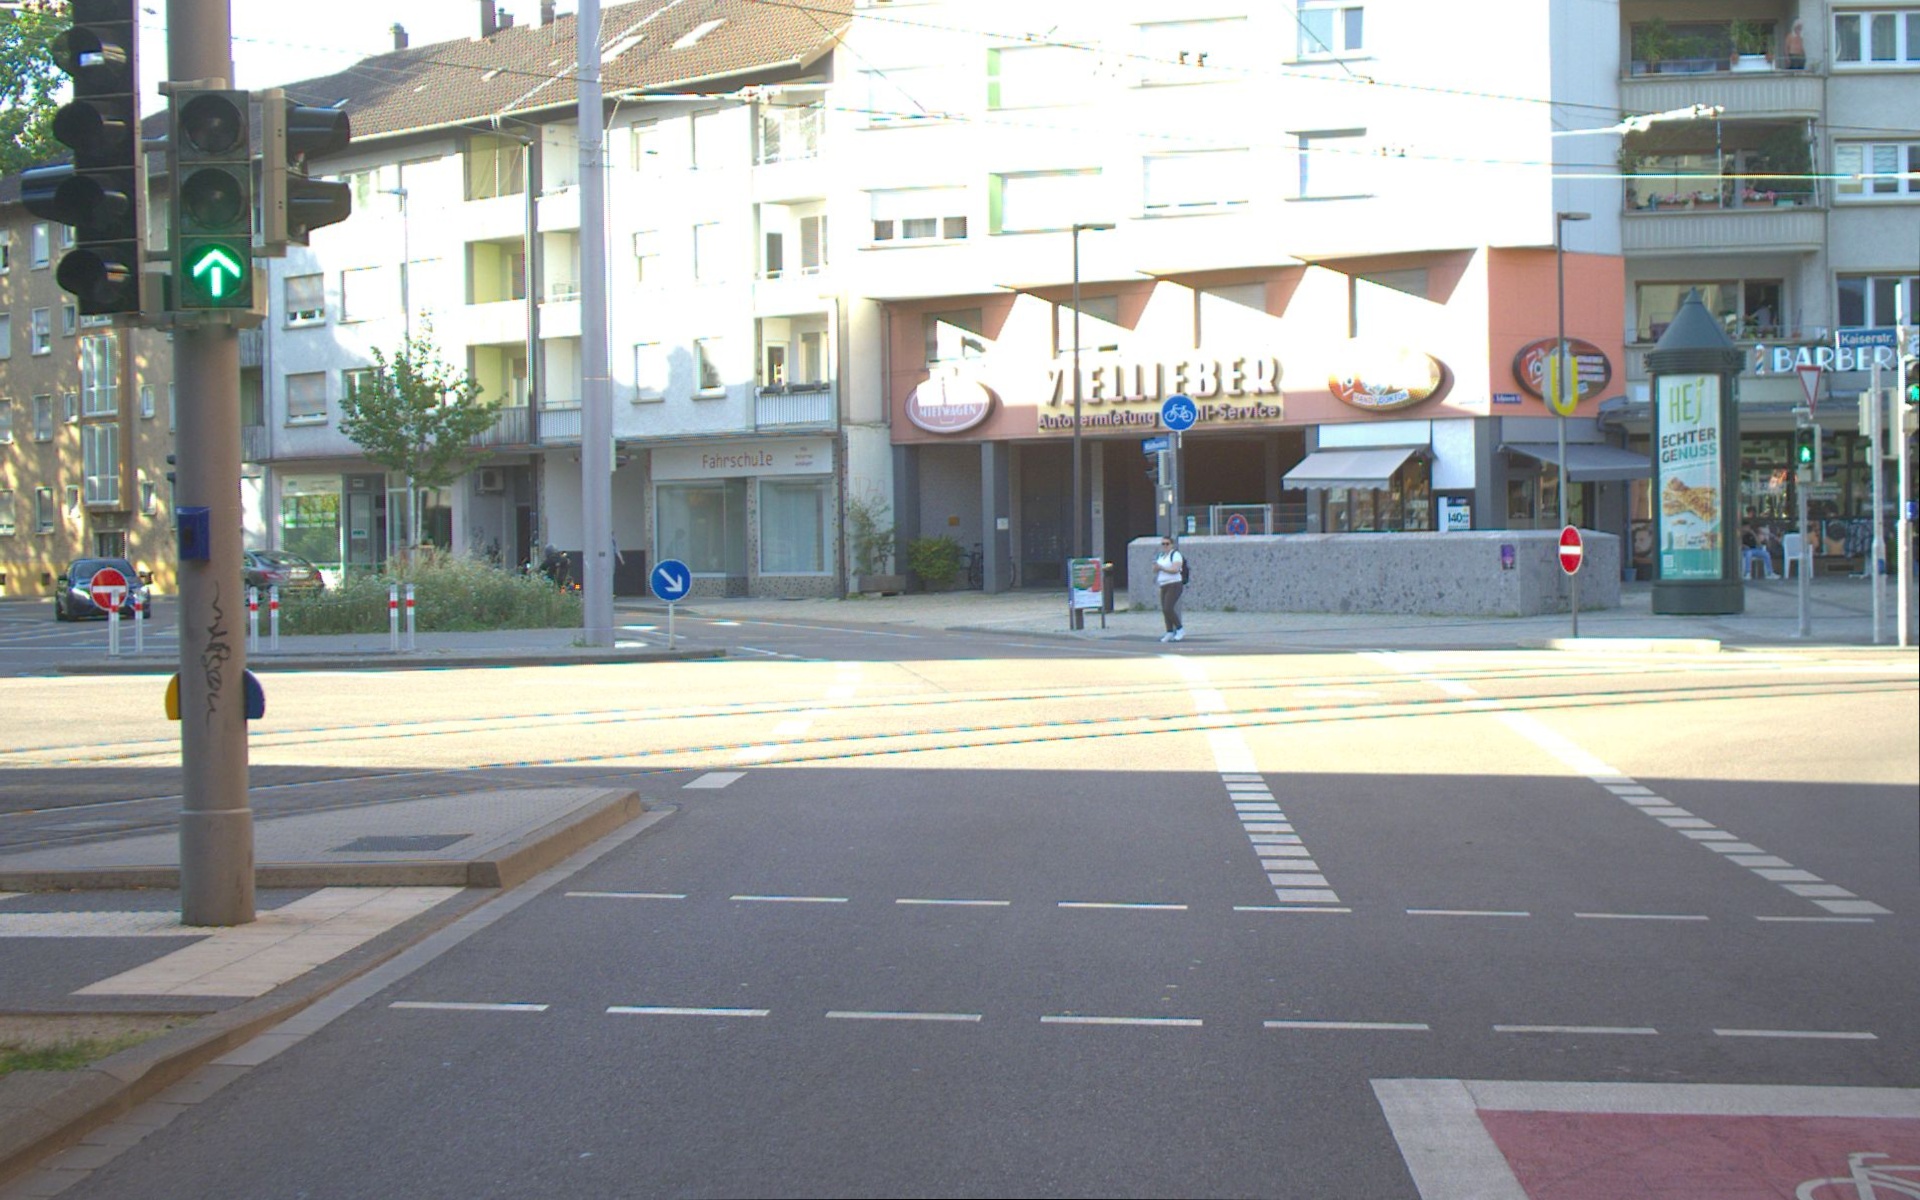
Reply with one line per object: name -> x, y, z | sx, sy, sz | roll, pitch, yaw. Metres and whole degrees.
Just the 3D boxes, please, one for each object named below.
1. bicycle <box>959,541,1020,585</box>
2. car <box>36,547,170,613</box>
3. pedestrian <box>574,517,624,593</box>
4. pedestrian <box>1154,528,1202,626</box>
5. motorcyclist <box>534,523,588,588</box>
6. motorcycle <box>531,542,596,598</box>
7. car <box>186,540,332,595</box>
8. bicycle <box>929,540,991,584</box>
bicycle -> 0.700, -0.889, 82.455 | 0.494, 1.035, 1.638 | -1, 1, -42
car -> -19.038, -0.455, 76.546 | 1.832, 1.381, 4.596 | -1, 1, 0
pedestrian -> -9.051, -1.123, 86.185 | 0.731, 1.848, 0.948 | -5, 3, -42
pedestrian -> 3.542, -0.371, 55.793 | 0.539, 1.578, 0.557 | -1, 1, -40
motorcyclist -> -8.394, -0.943, 72.308 | 0.970, 1.342, 1.138 | 1, 1, -15
motorcycle -> -8.327, -0.639, 72.069 | 0.973, 1.128, 2.806 | 1, 1, -15
car -> -18.117, -0.852, 88.740 | 1.924, 1.384, 3.998 | -1, 1, -42
bicycle -> -0.009, -0.910, 82.000 | 0.494, 1.035, 1.638 | -1, 1, -42
